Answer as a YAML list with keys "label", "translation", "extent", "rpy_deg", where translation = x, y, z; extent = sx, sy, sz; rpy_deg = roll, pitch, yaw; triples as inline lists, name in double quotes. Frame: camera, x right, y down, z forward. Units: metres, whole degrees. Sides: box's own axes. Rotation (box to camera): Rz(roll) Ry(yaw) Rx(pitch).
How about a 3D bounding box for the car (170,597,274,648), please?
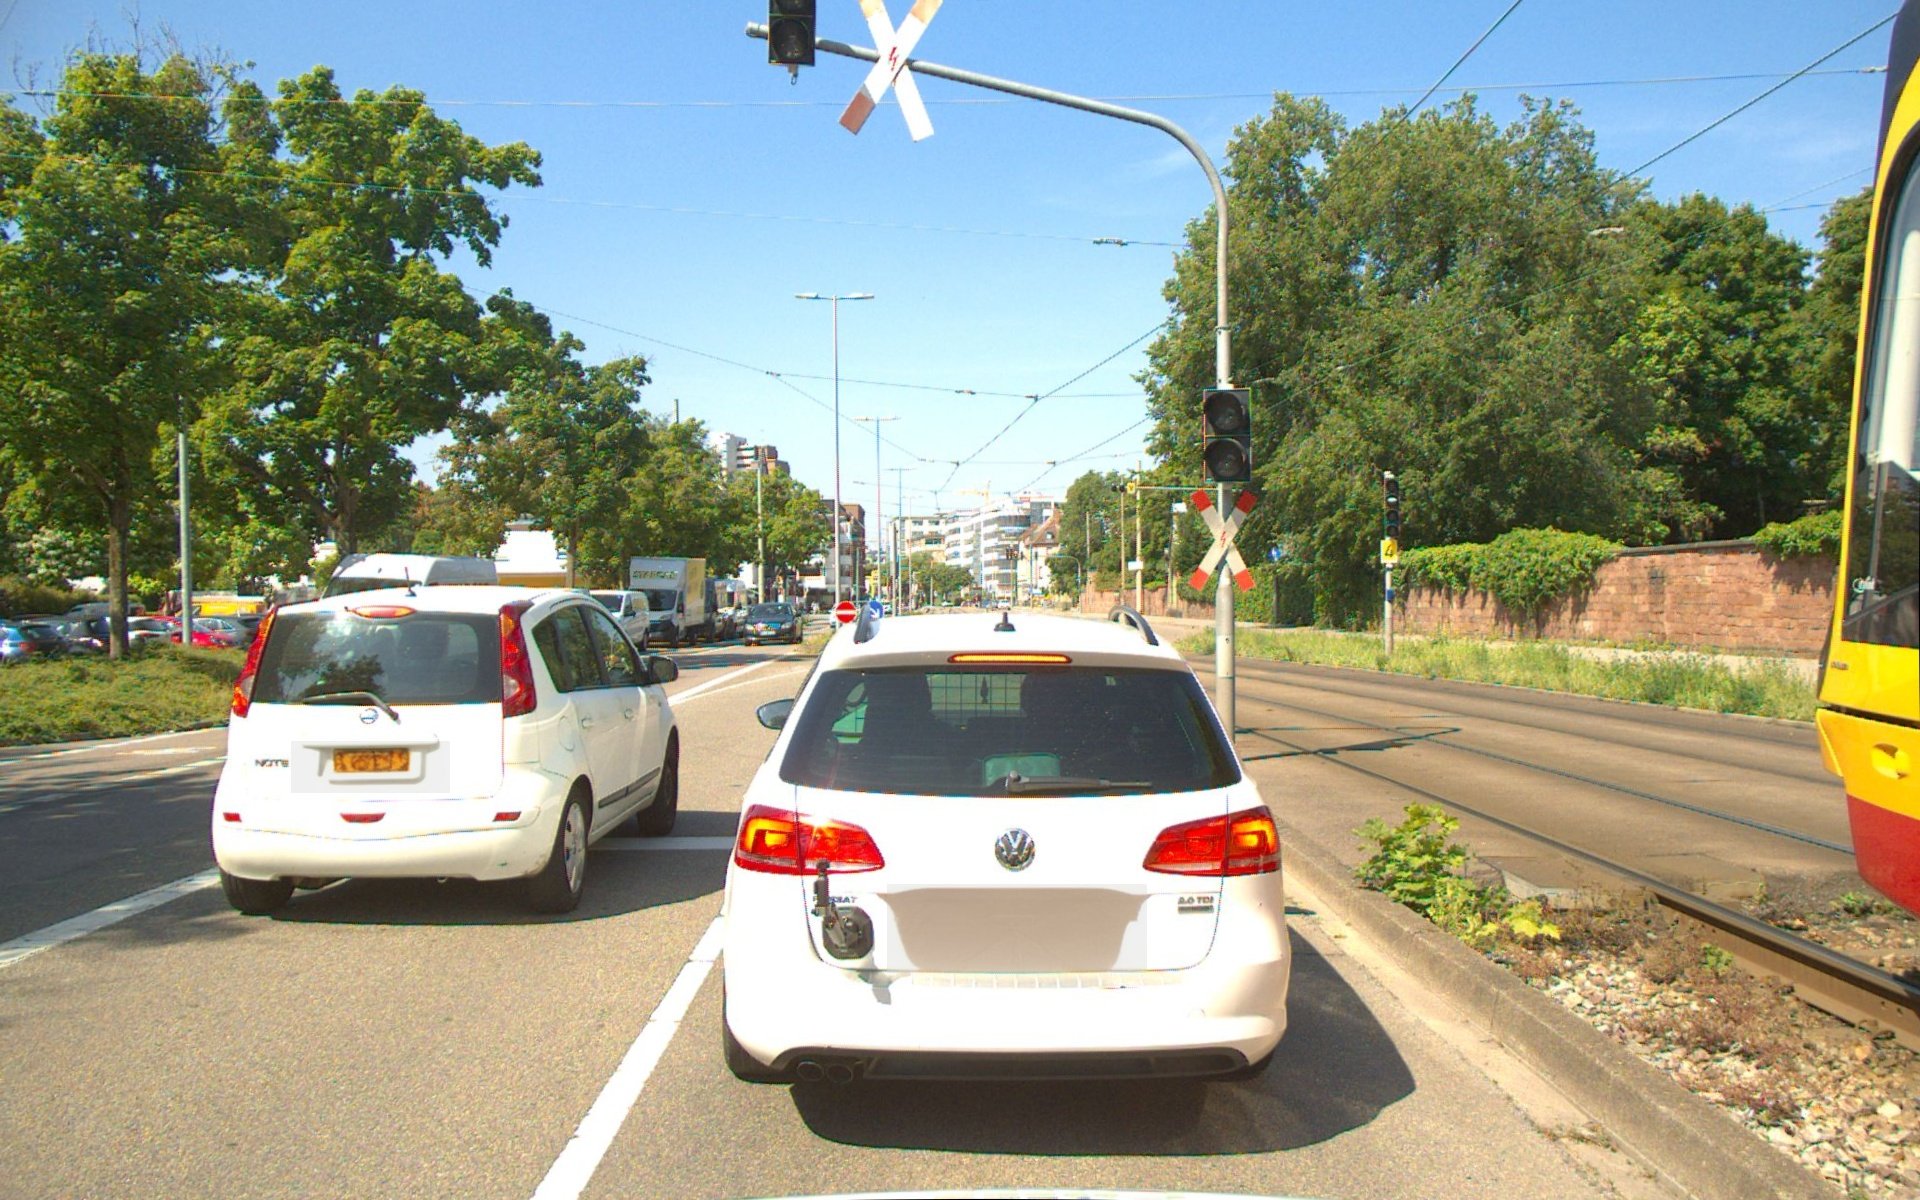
- label: "car"
  translation: [-34.031, 1.006, 76.380]
  extent: [3.909, 2.238, 1.909]
  rpy_deg: [-1, 0, -4]

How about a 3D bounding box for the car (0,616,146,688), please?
- label: "car"
  translation: [-21.427, 1.208, 38.662]
  extent: [3.906, 1.571, 1.663]
  rpy_deg: [-2, 0, -1]

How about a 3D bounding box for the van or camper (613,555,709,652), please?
- label: "van or camper"
  translation: [-10.774, 0.105, 60.072]
  extent: [2.150, 3.298, 6.772]
  rpy_deg: [1, 0, 1]

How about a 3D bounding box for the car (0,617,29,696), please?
- label: "car"
  translation: [-20.937, 1.173, 32.827]
  extent: [3.907, 1.571, 1.663]
  rpy_deg: [-2, 0, -3]

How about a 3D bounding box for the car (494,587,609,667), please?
- label: "car"
  translation: [-10.961, 0.686, 44.775]
  extent: [2.153, 1.974, 5.180]
  rpy_deg: [-1, 0, -5]

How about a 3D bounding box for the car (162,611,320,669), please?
- label: "car"
  translation: [-21.279, 1.176, 49.035]
  extent: [3.906, 1.571, 1.663]
  rpy_deg: [-2, 0, -1]

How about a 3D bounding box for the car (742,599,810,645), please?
- label: "car"
  translation: [-6.293, 0.727, 56.918]
  extent: [1.748, 1.434, 4.306]
  rpy_deg: [-1, 1, 1]

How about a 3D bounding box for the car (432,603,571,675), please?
- label: "car"
  translation: [-10.557, 0.852, 38.436]
  extent: [1.893, 1.480, 4.885]
  rpy_deg: [-1, 0, -1]

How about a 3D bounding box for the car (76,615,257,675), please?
- label: "car"
  translation: [-20.965, 1.169, 43.781]
  extent: [3.906, 1.434, 1.732]
  rpy_deg: [-1, 0, -1]

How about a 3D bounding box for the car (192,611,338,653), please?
- label: "car"
  translation: [-21.490, 0.991, 51.236]
  extent: [3.809, 1.174, 1.663]
  rpy_deg: [-2, 0, -1]

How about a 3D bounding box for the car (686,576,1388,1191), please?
- label: "car"
  translation: [0.197, 0.713, 6.107]
  extent: [1.742, 1.516, 3.846]
  rpy_deg: [1, 0, 0]

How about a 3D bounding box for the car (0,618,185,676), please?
- label: "car"
  translation: [-21.545, 1.162, 40.994]
  extent: [3.836, 1.293, 1.663]
  rpy_deg: [-2, 0, -1]

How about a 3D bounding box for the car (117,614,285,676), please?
- label: "car"
  translation: [-21.185, 1.235, 46.265]
  extent: [3.906, 1.571, 1.663]
  rpy_deg: [-2, 0, -1]

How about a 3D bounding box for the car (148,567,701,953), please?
- label: "car"
  translation: [-2.566, 0.667, 8.969]
  extent: [1.695, 1.624, 4.011]
  rpy_deg: [0, 0, 0]

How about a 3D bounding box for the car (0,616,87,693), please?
- label: "car"
  translation: [-21.118, 1.193, 35.408]
  extent: [3.907, 1.571, 1.663]
  rpy_deg: [-2, 0, -3]

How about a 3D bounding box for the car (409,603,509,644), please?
- label: "car"
  translation: [-22.220, 1.035, 73.395]
  extent: [3.907, 1.724, 1.662]
  rpy_deg: [-2, 0, -3]

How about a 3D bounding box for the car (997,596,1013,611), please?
- label: "car"
  translation: [6.597, 0.530, 242.939]
  extent: [2.083, 2.049, 5.282]
  rpy_deg: [-1, 0, -1]

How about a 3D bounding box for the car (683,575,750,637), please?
- label: "car"
  translation: [-10.956, 0.257, 74.714]
  extent: [2.151, 2.676, 5.978]
  rpy_deg: [1, 0, 0]

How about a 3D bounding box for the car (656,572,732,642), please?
- label: "car"
  translation: [-10.882, 0.270, 67.999]
  extent: [2.151, 2.715, 6.079]
  rpy_deg: [1, 0, 0]

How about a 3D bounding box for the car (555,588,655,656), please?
- label: "car"
  translation: [-11.033, 0.650, 51.775]
  extent: [2.152, 1.974, 5.182]
  rpy_deg: [-1, 0, -2]

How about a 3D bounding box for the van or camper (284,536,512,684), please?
- label: "van or camper"
  translation: [-10.704, 0.167, 32.121]
  extent: [2.211, 2.558, 6.147]
  rpy_deg: [-1, 0, 1]

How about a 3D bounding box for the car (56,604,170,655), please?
- label: "car"
  translation: [-36.505, 1.253, 71.360]
  extent: [3.909, 2.038, 1.909]
  rpy_deg: [-1, 0, -4]
